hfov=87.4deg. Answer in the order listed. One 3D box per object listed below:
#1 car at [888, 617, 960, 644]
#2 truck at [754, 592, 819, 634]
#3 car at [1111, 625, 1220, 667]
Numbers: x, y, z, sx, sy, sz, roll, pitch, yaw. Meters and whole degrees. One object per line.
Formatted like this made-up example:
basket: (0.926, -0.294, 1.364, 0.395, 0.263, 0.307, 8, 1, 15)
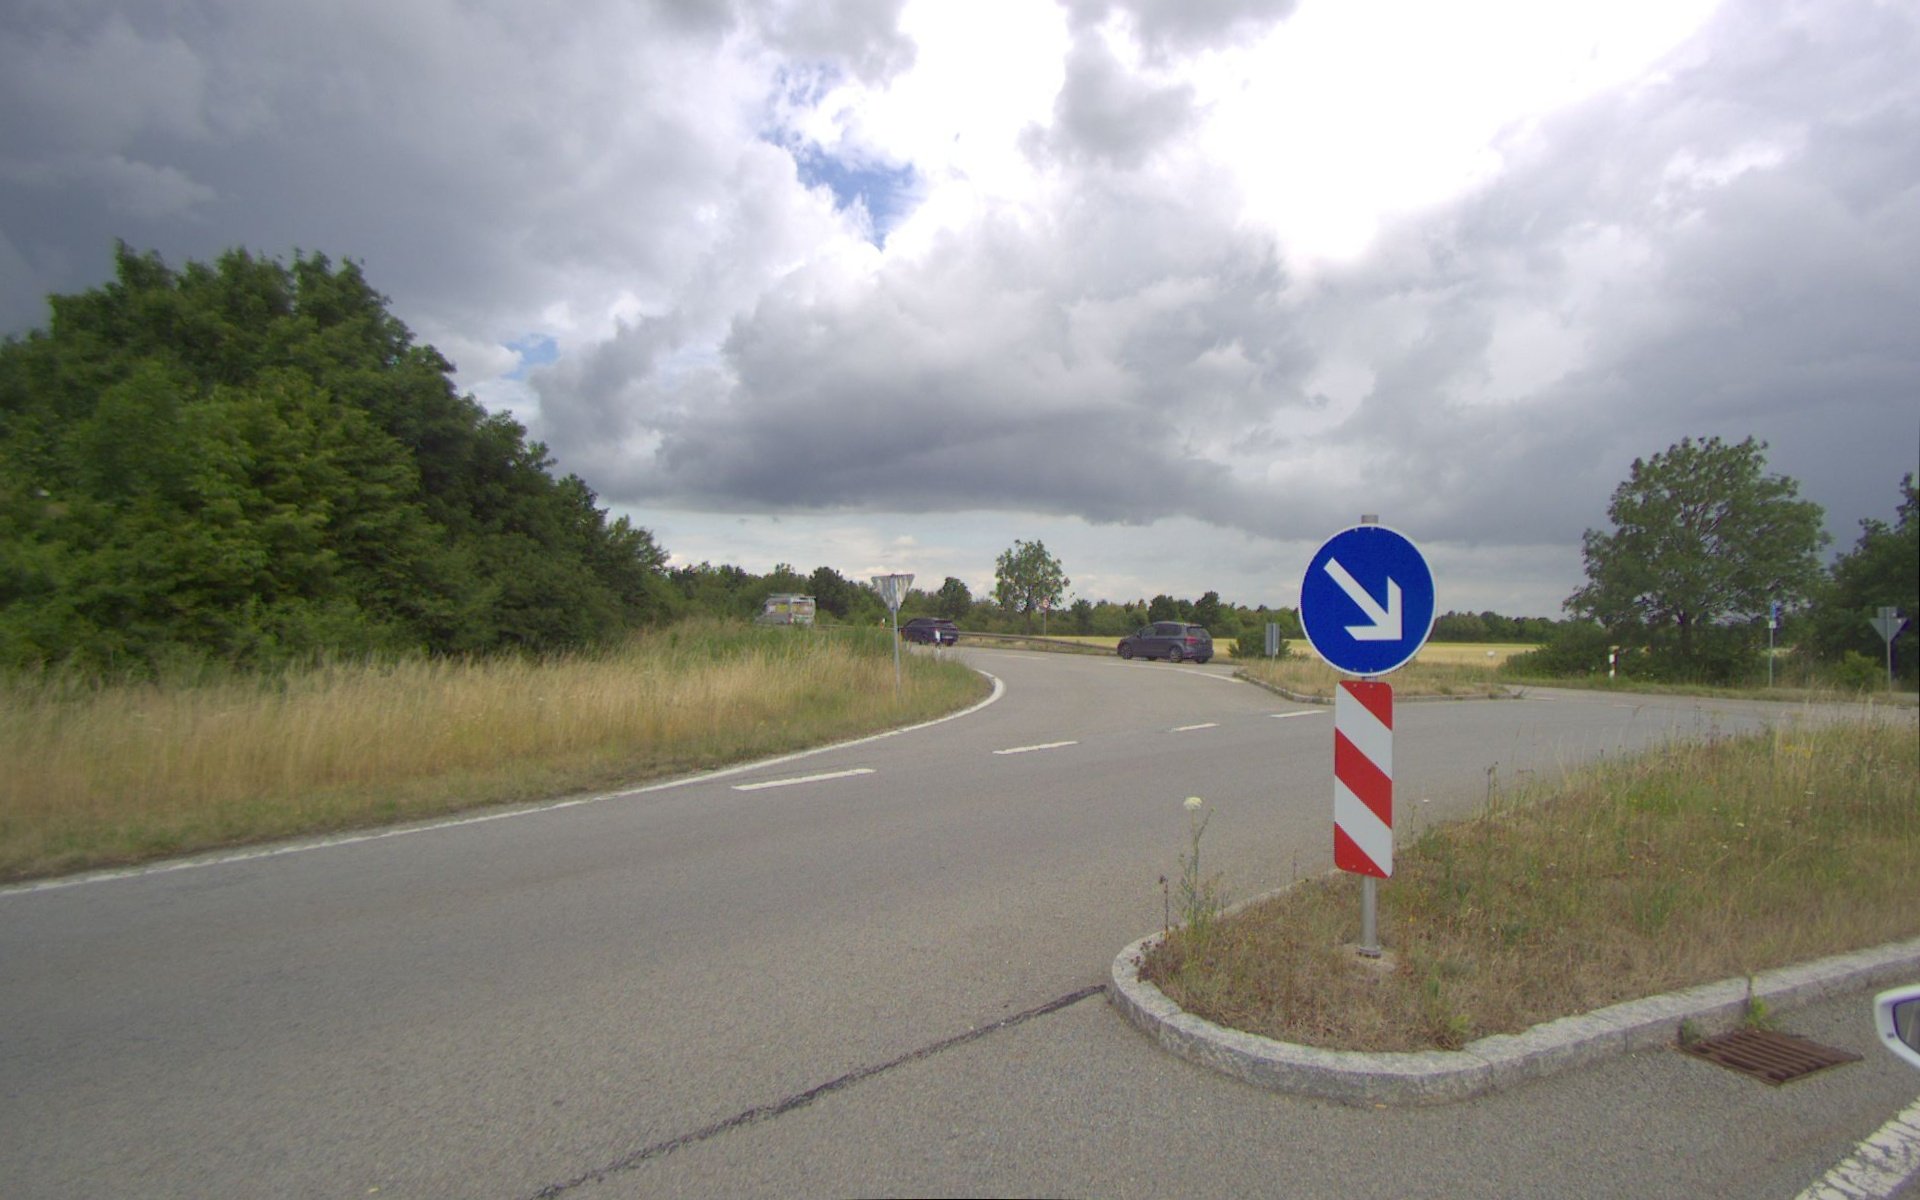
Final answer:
car: (-1.925, 1.576, 52.988, 1.666, 1.362, 4.311, 1, -1, -37)
truck: (-11.888, 0.895, 68.482, 2.045, 2.739, 5.987, 1, -1, -34)
car: (8.280, 1.840, 40.778, 1.979, 1.622, 4.184, 1, -2, -34)
